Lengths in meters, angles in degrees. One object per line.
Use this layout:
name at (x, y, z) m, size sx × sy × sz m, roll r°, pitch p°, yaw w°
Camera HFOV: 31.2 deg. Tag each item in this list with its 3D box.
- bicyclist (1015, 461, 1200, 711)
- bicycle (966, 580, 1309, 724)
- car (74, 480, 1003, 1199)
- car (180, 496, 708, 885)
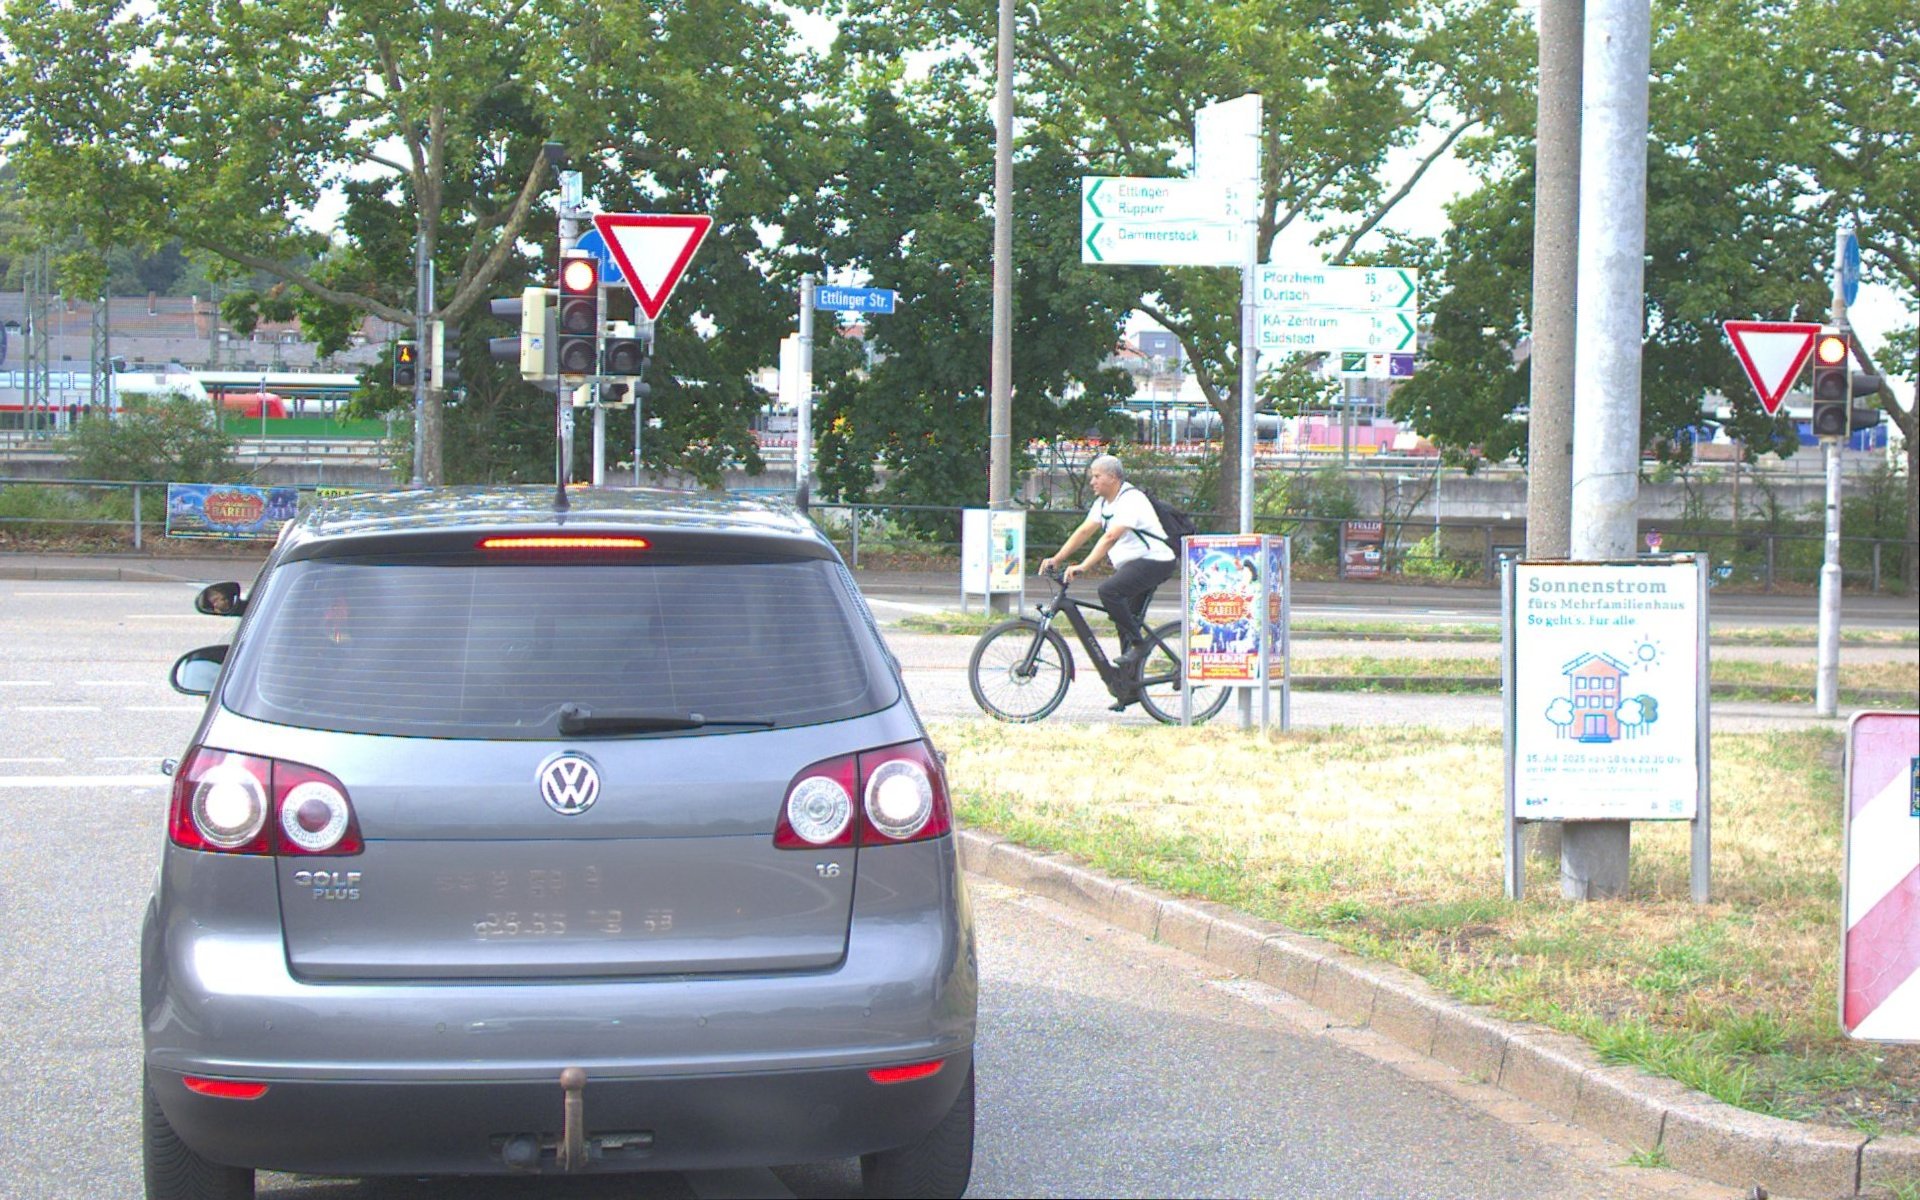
bicyclist at (1.008, -0.104, 23.734) m, size 1.112 × 1.690 × 0.813 m, roll 0°, pitch 2°, yaw -10°
bicycle at (1.218, 0.353, 23.787) m, size 2.227 × 0.949 × 0.812 m, roll 0°, pitch 2°, yaw -10°
car at (-1.106, 0.498, 8.541) m, size 1.740 × 1.541 × 4.083 m, roll 0°, pitch 1°, yaw -9°
car at (-2.421, 0.291, 15.240) m, size 1.740 × 1.477 × 4.083 m, roll 0°, pitch 1°, yaw -17°
